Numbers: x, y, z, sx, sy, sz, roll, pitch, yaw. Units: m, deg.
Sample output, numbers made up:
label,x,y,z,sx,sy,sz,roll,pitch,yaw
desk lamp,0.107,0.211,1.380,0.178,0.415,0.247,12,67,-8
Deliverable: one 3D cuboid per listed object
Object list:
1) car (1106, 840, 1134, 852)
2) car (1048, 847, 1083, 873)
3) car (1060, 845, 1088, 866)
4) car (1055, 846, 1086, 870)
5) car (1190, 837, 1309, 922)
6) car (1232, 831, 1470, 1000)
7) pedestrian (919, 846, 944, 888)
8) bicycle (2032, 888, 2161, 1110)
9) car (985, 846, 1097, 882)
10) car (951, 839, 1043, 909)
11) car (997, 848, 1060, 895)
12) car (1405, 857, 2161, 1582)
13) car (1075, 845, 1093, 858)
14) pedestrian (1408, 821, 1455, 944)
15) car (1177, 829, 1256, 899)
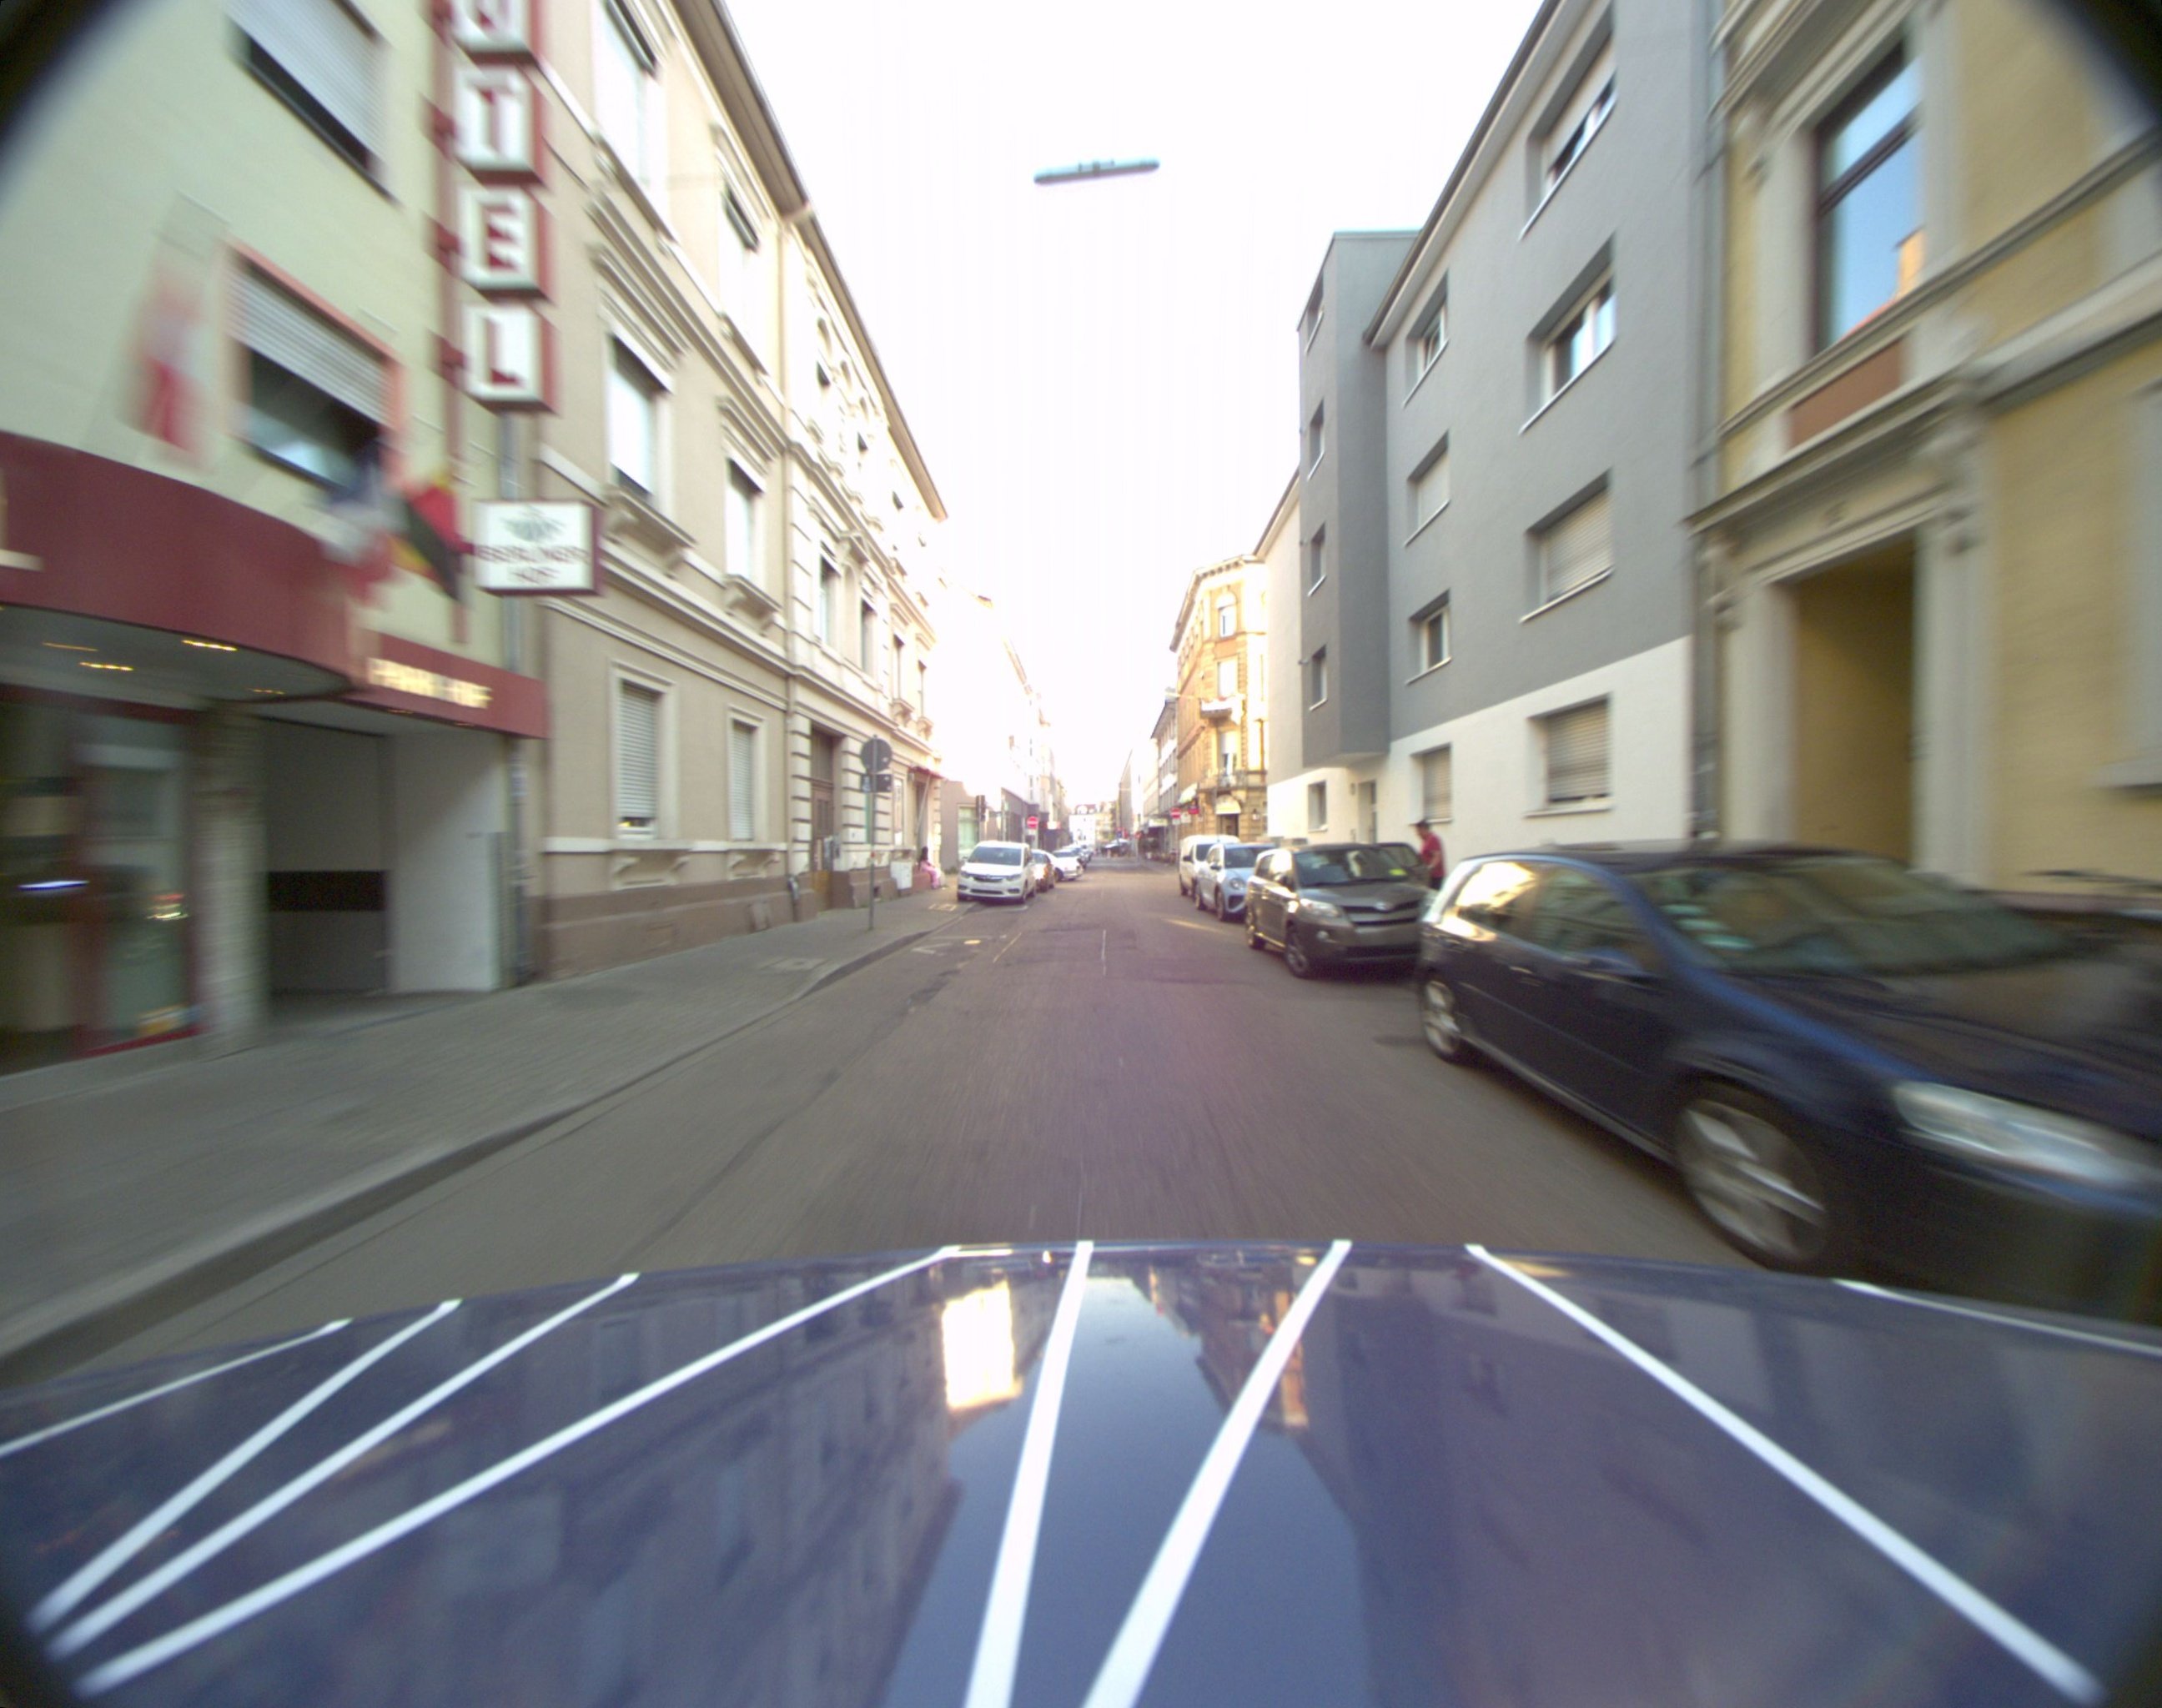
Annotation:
label,x,y,z,sx,sy,sz,roll,pitch,yaw
car,5.615,-1.139,109.817,3.881,1.568,1.734,0,2,44
car,-0.864,0.332,44.556,1.729,1.391,3.892,-1,1,3
car,-0.456,0.068,54.343,1.729,1.391,3.892,-1,1,3
car,-0.664,0.225,49.321,1.729,1.391,3.892,-1,1,3
car,3.452,0.450,16.188,1.642,1.571,3.782,-1,1,-1
car,3.151,0.600,9.682,1.642,1.701,3.782,-1,1,-1
pedestrian,-5.051,0.440,25.729,0.696,1.415,0.483,-1,1,3
bicycle,5.780,0.773,3.710,0.382,1.109,1.544,-1,1,3
car,-1.713,0.434,32.694,4.461,1.395,1.685,-2,1,22
car,-2.272,0.473,21.720,1.841,1.685,4.358,4,1,3
car,-1.780,0.565,26.780,1.729,1.470,3.976,-2,1,3
car,3.101,0.811,3.584,1.642,1.481,3.954,-1,1,3
car,0.317,-0.300,82.116,1.729,1.391,3.892,-1,1,3
pedestrian,5.088,0.409,11.046,0.456,1.745,0.455,-1,2,0
car,3.719,0.224,21.424,1.642,1.786,3.783,-1,1,2
